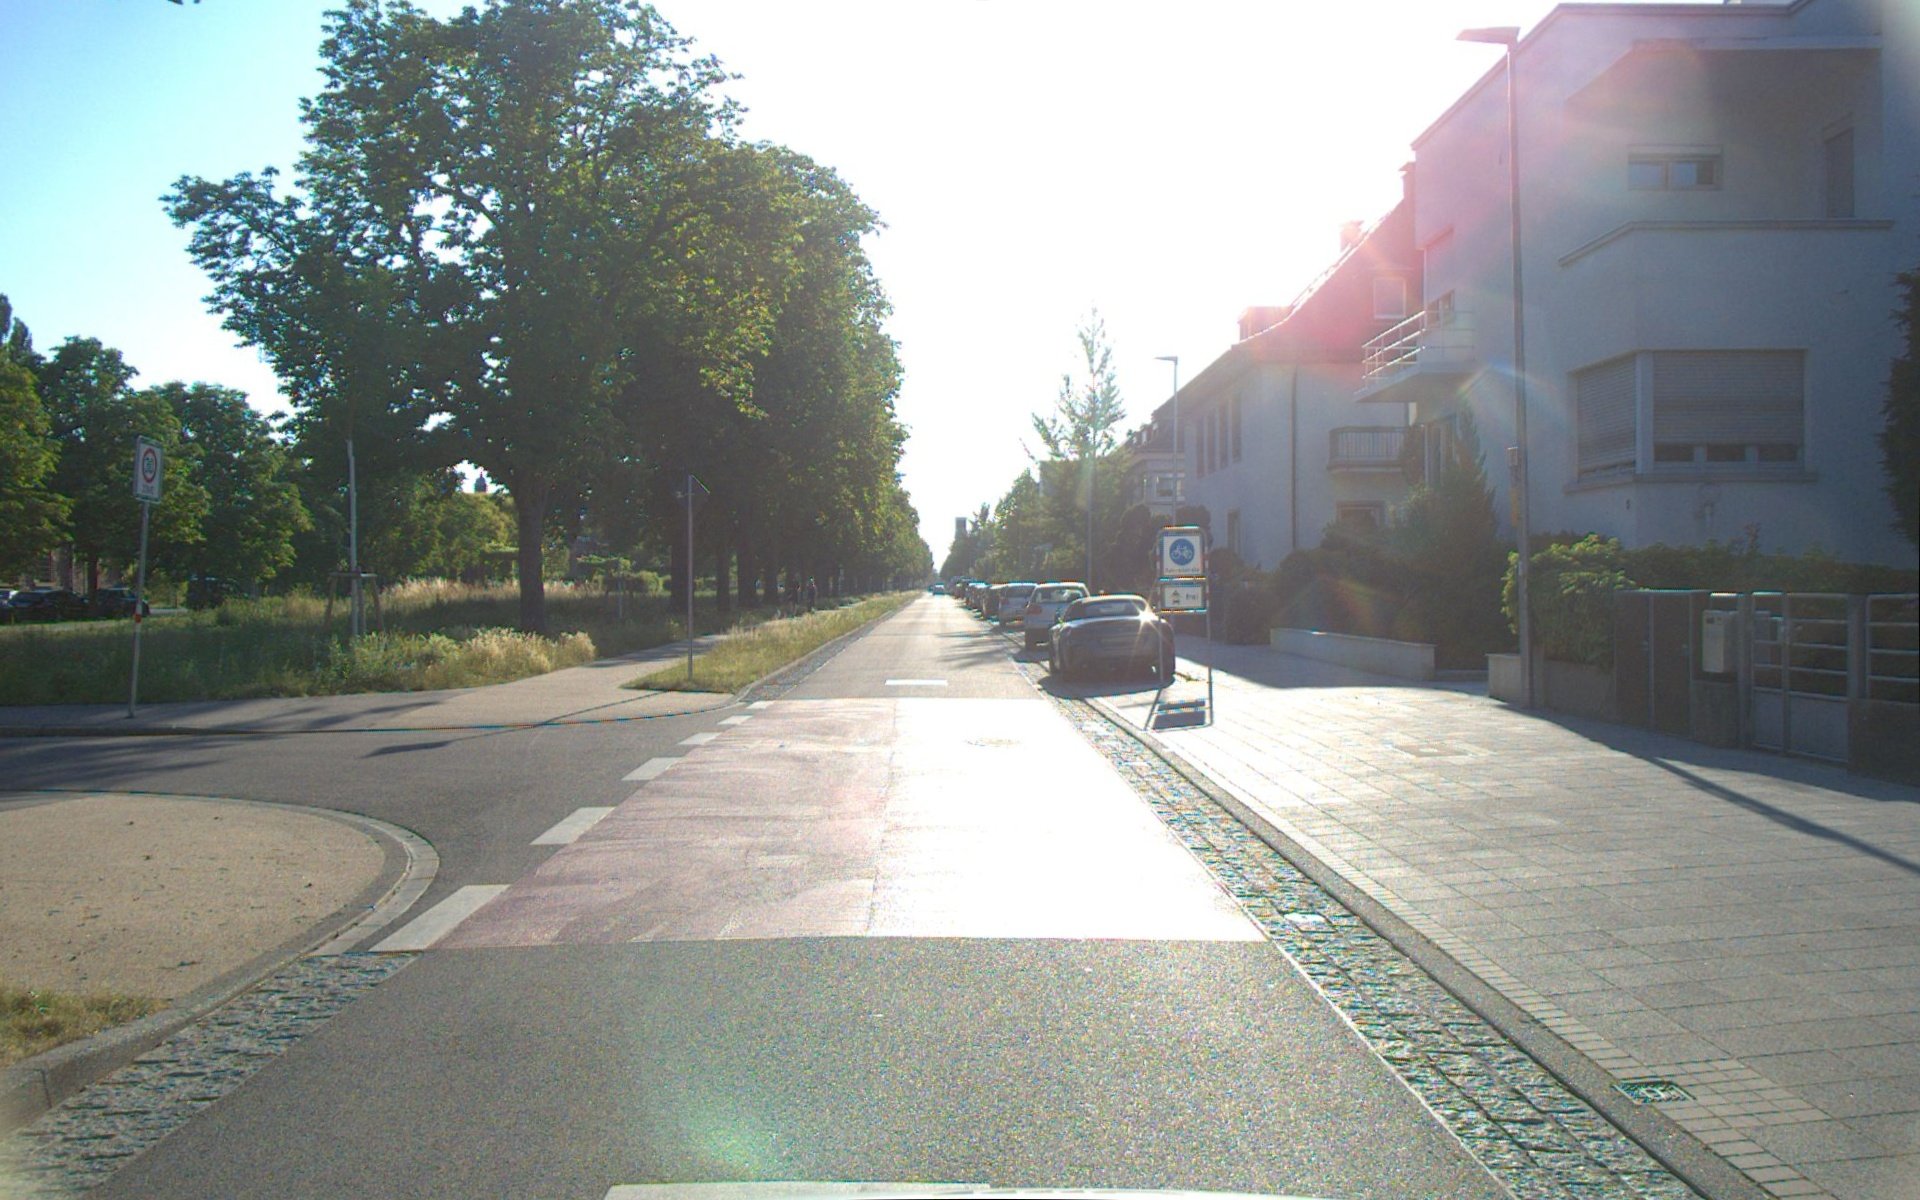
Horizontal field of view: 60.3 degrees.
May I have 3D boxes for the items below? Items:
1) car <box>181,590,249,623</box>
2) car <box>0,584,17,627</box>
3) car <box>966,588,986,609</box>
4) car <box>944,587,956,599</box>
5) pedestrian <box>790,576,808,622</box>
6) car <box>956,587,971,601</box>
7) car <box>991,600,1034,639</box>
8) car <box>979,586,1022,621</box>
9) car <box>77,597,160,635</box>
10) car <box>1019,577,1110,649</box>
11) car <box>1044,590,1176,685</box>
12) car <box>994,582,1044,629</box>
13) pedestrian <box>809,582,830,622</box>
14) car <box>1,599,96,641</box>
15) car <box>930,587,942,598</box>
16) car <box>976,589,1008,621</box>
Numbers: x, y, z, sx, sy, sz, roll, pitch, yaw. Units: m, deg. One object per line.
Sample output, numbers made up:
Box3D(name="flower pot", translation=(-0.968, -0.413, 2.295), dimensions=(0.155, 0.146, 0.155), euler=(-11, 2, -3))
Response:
Box3D(name="car", translation=(-37.937, 0.304, 84.287), dimensions=(1.658, 1.625, 4.220), euler=(0, 1, -2))
Box3D(name="car", translation=(-37.483, 0.232, 62.220), dimensions=(1.658, 1.625, 4.220), euler=(0, 1, -2))
Box3D(name="car", translation=(1.243, -0.108, 126.622), dimensions=(1.467, 1.594, 3.266), euler=(-1, 0, 0))
Box3D(name="car", translation=(-1.369, -0.991, 233.156), dimensions=(1.618, 1.568, 3.266), euler=(1, 0, 0))
Box3D(name="pedestrian", translation=(-6.657, -0.052, 68.518), dimensions=(0.611, 1.863, 0.886), euler=(0, 0, 3))
Box3D(name="car", translation=(0.409, -0.696, 189.057), dimensions=(1.618, 1.568, 3.266), euler=(1, 0, 0))
Box3D(name="car", translation=(2.168, 0.774, 67.727), dimensions=(1.623, 1.520, 3.717), euler=(-2, 0, 3))
Box3D(name="car", translation=(1.815, 0.167, 75.432), dimensions=(1.702, 1.474, 4.195), euler=(-2, 0, -2))
Box3D(name="car", translation=(-37.731, 0.676, 74.240), dimensions=(1.658, 1.625, 4.220), euler=(0, 1, -2))
Box3D(name="car", translation=(2.423, 0.275, 39.173), dimensions=(1.709, 1.499, 3.921), euler=(-3, 1, -2))
Box3D(name="car", translation=(2.436, 0.569, 27.782), dimensions=(1.738, 1.310, 4.272), euler=(-3, 1, 0))
Box3D(name="car", translation=(2.074, 0.163, 59.020), dimensions=(1.594, 1.531, 3.633), euler=(-2, 1, 0))
Box3D(name="pedestrian", translation=(-5.825, 0.076, 68.637), dimensions=(0.767, 1.643, 0.952), euler=(0, 0, 3))
Box3D(name="car", translation=(-37.501, 0.811, 68.136), dimensions=(1.658, 1.625, 4.220), euler=(0, 1, -2))
Box3D(name="car", translation=(-3.545, -1.074, 244.177), dimensions=(1.618, 1.568, 3.266), euler=(1, 0, -1))
Box3D(name="car", translation=(1.607, 0.237, 84.327), dimensions=(1.560, 1.536, 3.591), euler=(-1, 0, 0))
